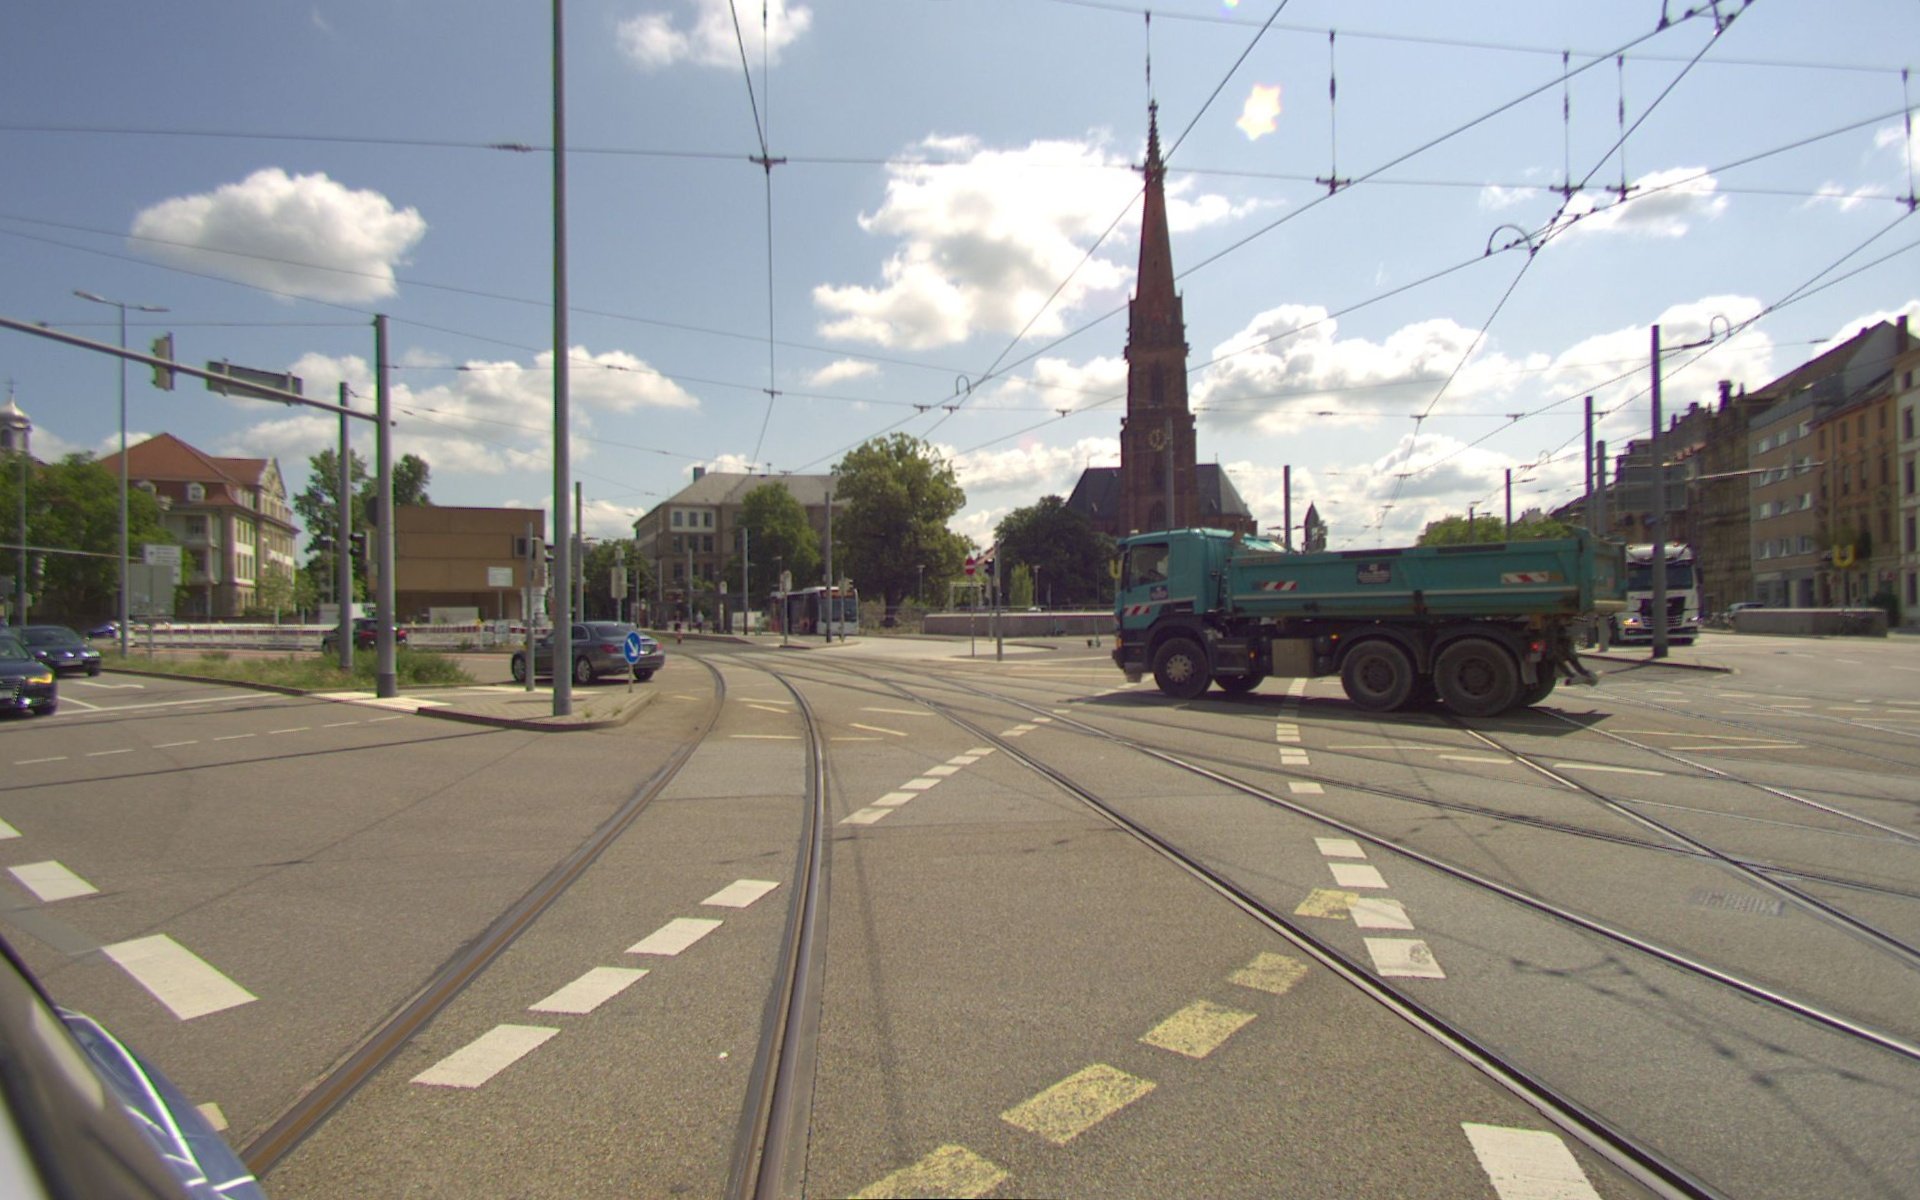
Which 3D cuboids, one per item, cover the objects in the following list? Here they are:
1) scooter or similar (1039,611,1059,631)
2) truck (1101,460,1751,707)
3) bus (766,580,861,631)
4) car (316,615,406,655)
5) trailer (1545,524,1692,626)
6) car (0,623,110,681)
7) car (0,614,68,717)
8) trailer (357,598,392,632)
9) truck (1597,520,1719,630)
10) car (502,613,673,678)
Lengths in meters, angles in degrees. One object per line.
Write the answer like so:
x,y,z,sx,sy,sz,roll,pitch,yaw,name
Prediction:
5.053,1.182,57.510,1.111,1.098,0.243,-1,1,-14,scooter or similar
6.681,-0.134,15.866,8.792,2.873,2.854,-1,0,43,truck
-9.533,0.218,64.130,2.550,2.881,12.308,-1,2,-25,bus
-23.660,1.356,39.929,4.147,1.480,1.638,-1,0,38,car
29.857,-1.175,46.676,2.688,3.999,13.949,0,2,20,trailer
-25.807,1.432,28.590,4.512,1.445,1.731,-2,1,37,car
-17.543,1.129,17.893,4.787,1.654,1.909,-1,0,39,car
-52.756,1.307,91.190,1.969,2.935,4.373,-2,2,-40,trailer
27.325,-0.967,39.880,2.688,3.999,5.413,0,1,21,truck
-9.081,1.048,24.474,4.768,1.402,1.637,-1,0,38,car
